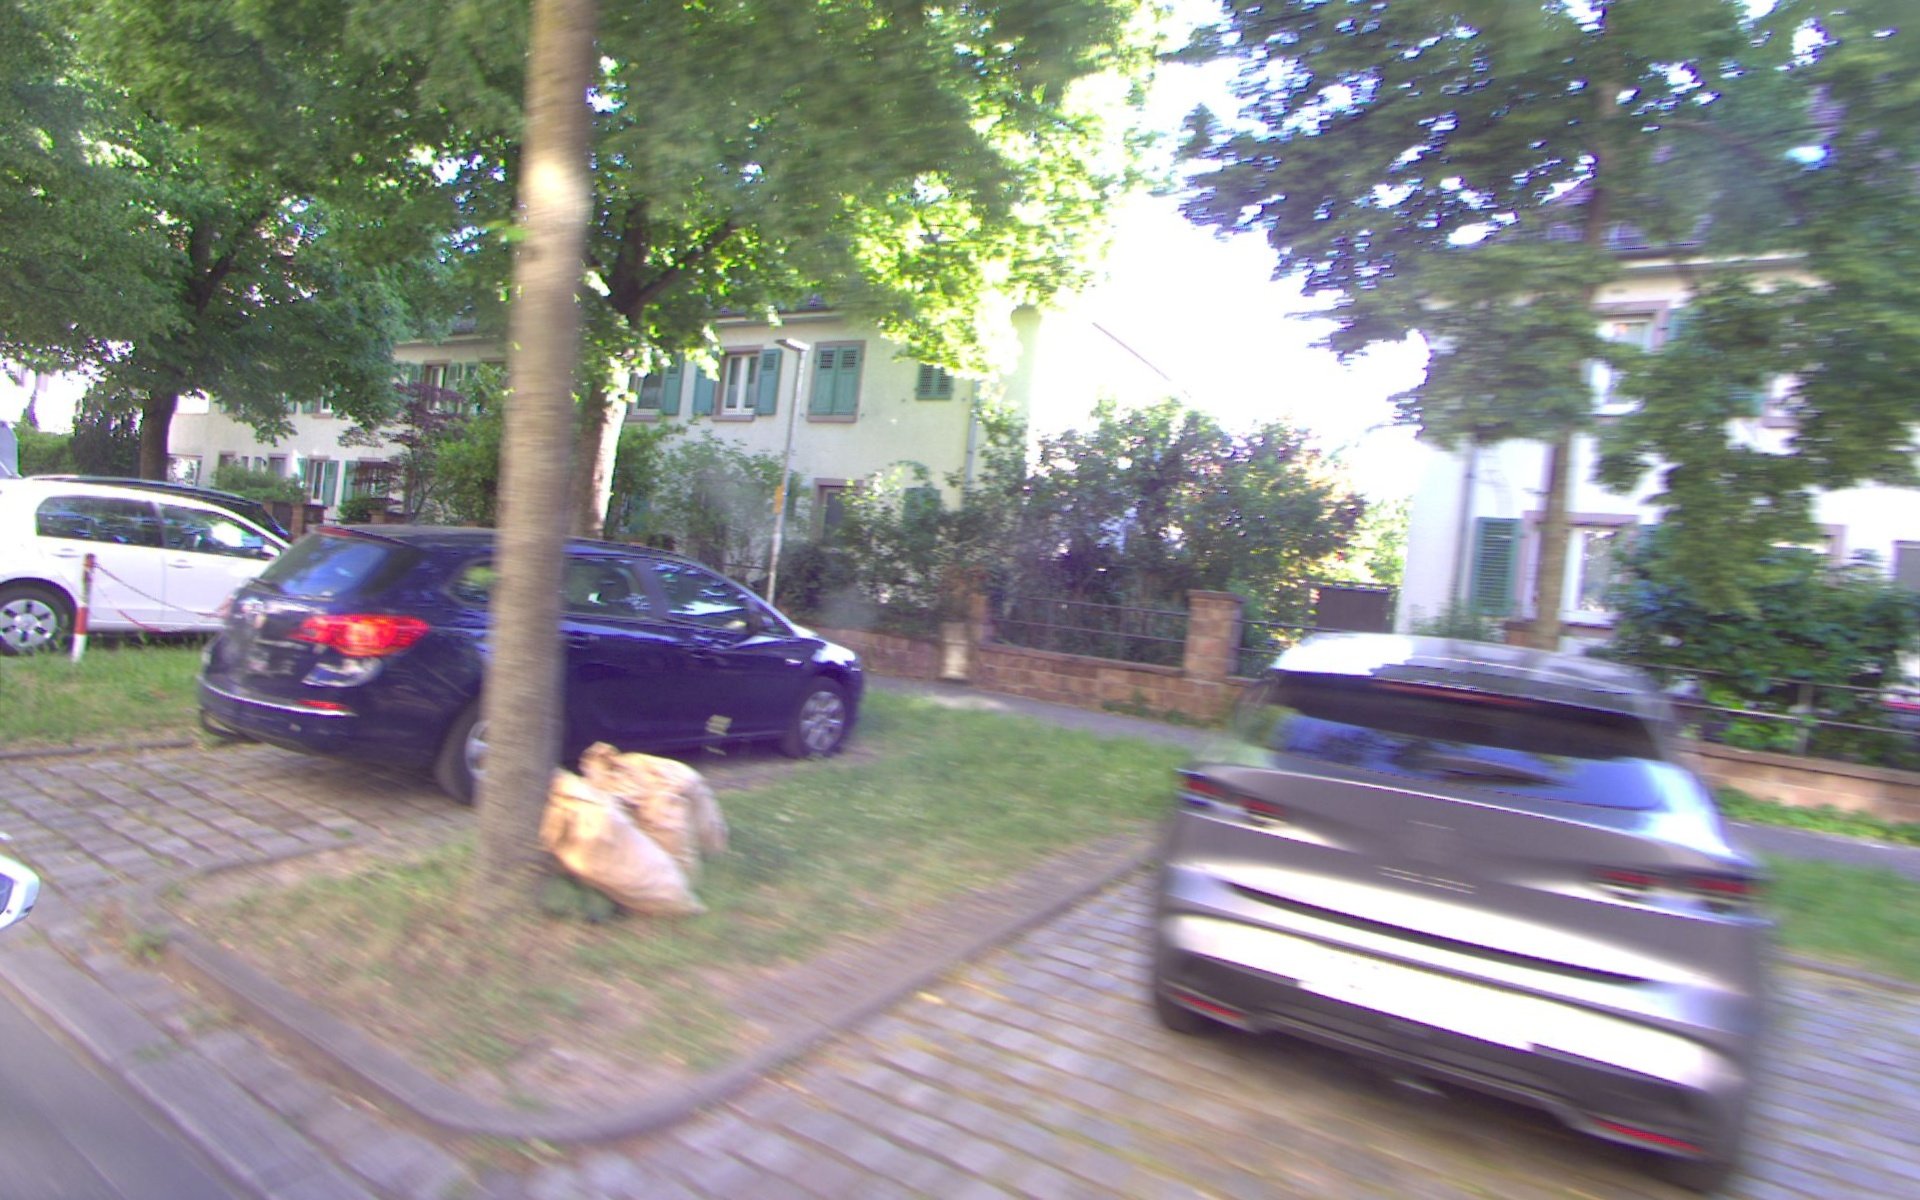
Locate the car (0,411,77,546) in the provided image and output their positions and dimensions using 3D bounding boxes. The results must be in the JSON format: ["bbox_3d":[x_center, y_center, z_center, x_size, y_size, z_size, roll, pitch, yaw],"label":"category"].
[{"bbox_3d":[-24.443,-3.059,22.073,2.422,3.017,7.154,7,1,29],"label":"car"}]

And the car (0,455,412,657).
[{"bbox_3d":[-7.818,-0.364,9.964,1.663,1.619,3.775,7,0,33],"label":"car"}]

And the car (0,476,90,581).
[{"bbox_3d":[-16.755,-1.303,15.916,1.674,1.619,4.145,5,-1,29],"label":"car"}]

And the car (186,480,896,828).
[{"bbox_3d":[-2.413,0.327,6.900,1.664,1.619,4.225,5,-1,33],"label":"car"}]

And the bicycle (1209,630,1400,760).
[{"bbox_3d":[3.701,0.985,10.876,1.789,1.143,0.564,6,2,32],"label":"bicycle"}]

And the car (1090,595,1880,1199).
[{"bbox_3d":[2.116,0.922,4.387,1.661,1.472,4.040,7,0,27],"label":"car"}]

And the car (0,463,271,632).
[{"bbox_3d":[-10.202,-0.600,10.890,1.675,1.619,4.141,5,-1,33],"label":"car"}]
